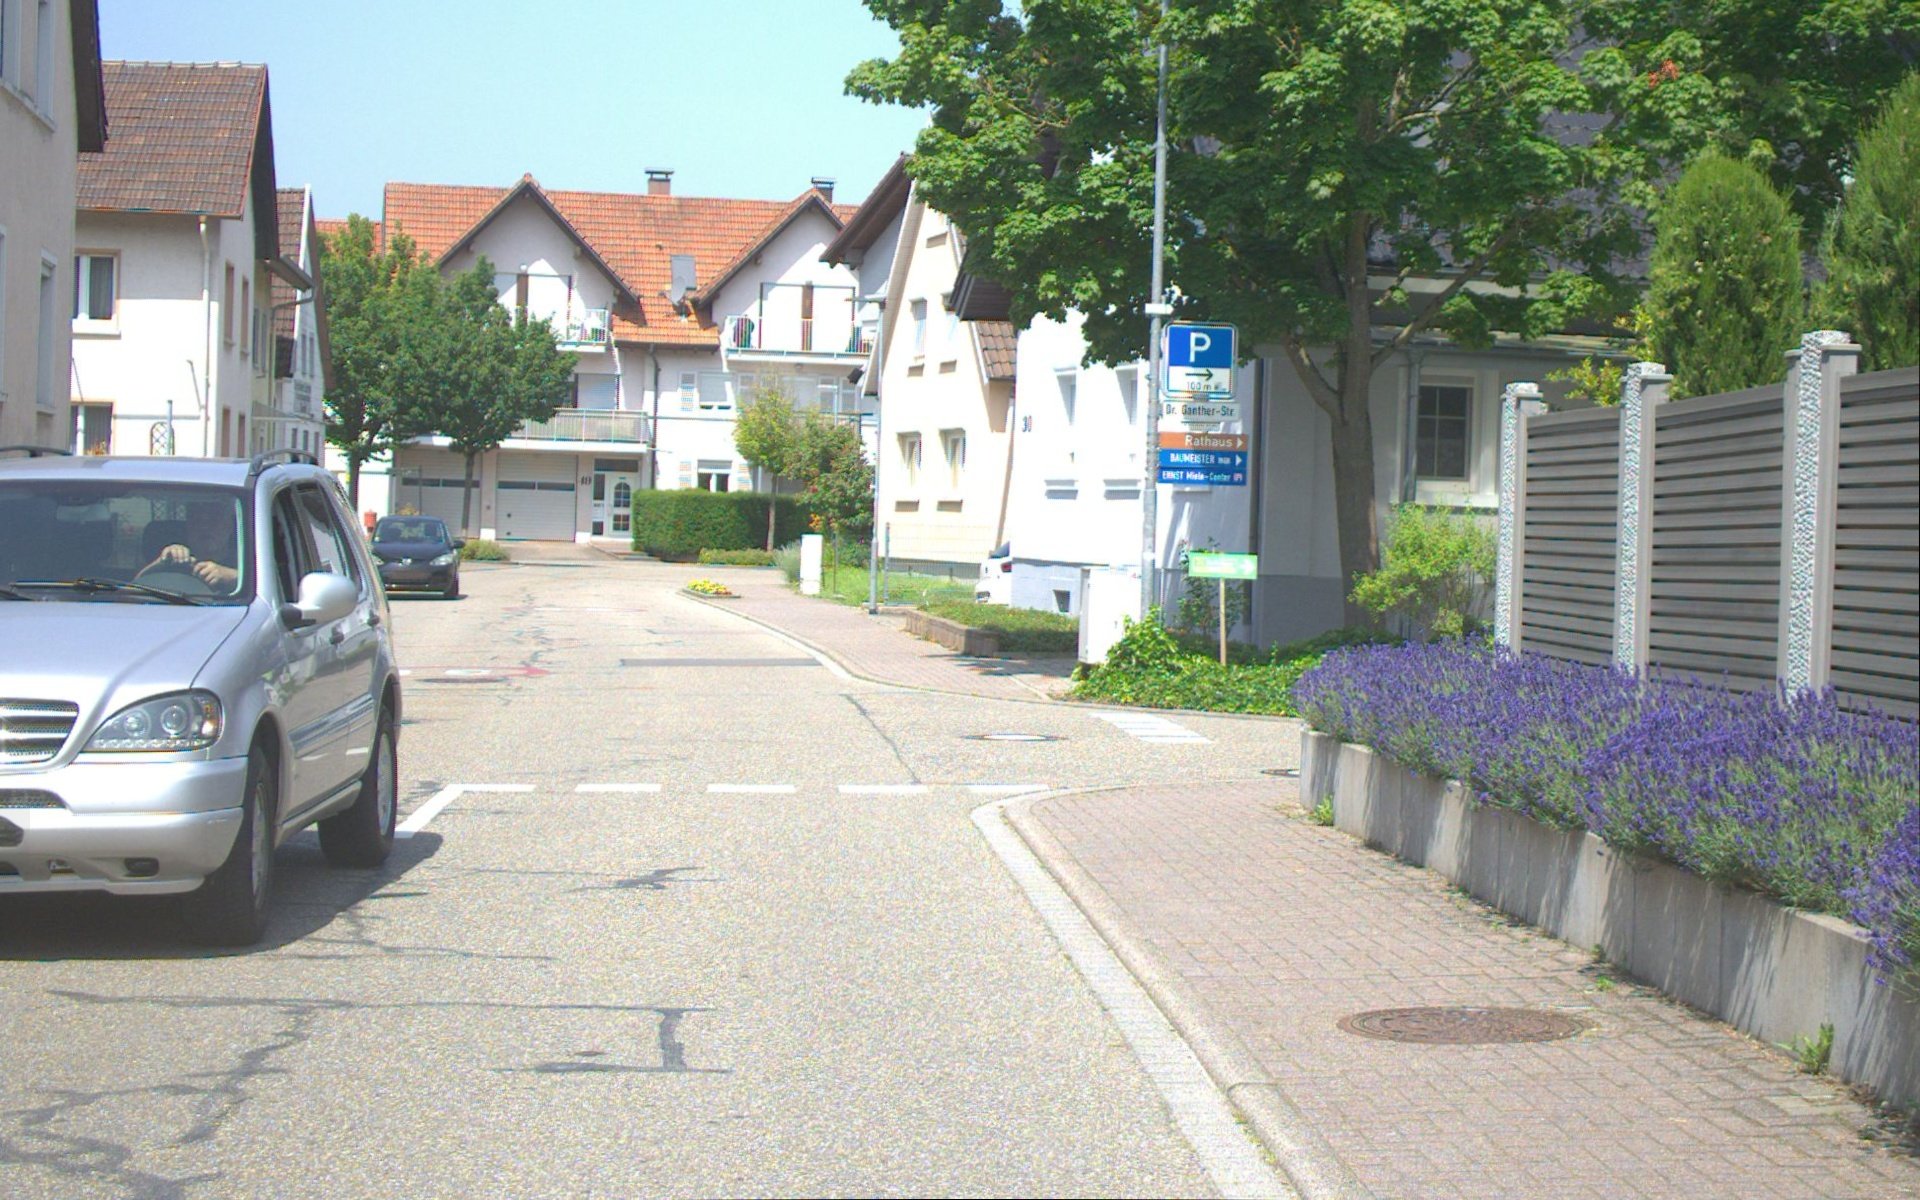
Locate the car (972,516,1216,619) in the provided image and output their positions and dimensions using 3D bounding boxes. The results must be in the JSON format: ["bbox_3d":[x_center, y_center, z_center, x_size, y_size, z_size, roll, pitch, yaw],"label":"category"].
[{"bbox_3d":[1.821,-0.441,46.987,3.042,1.341,1.423,1,0,-14],"label":"car"}]

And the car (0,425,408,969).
[{"bbox_3d":[-3.358,0.257,13.290,1.885,1.761,4.331,0,2,-2],"label":"car"}]

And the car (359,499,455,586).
[{"bbox_3d":[-9.859,-1.056,61.447,1.626,1.481,4.001,0,2,-9],"label":"car"}]
